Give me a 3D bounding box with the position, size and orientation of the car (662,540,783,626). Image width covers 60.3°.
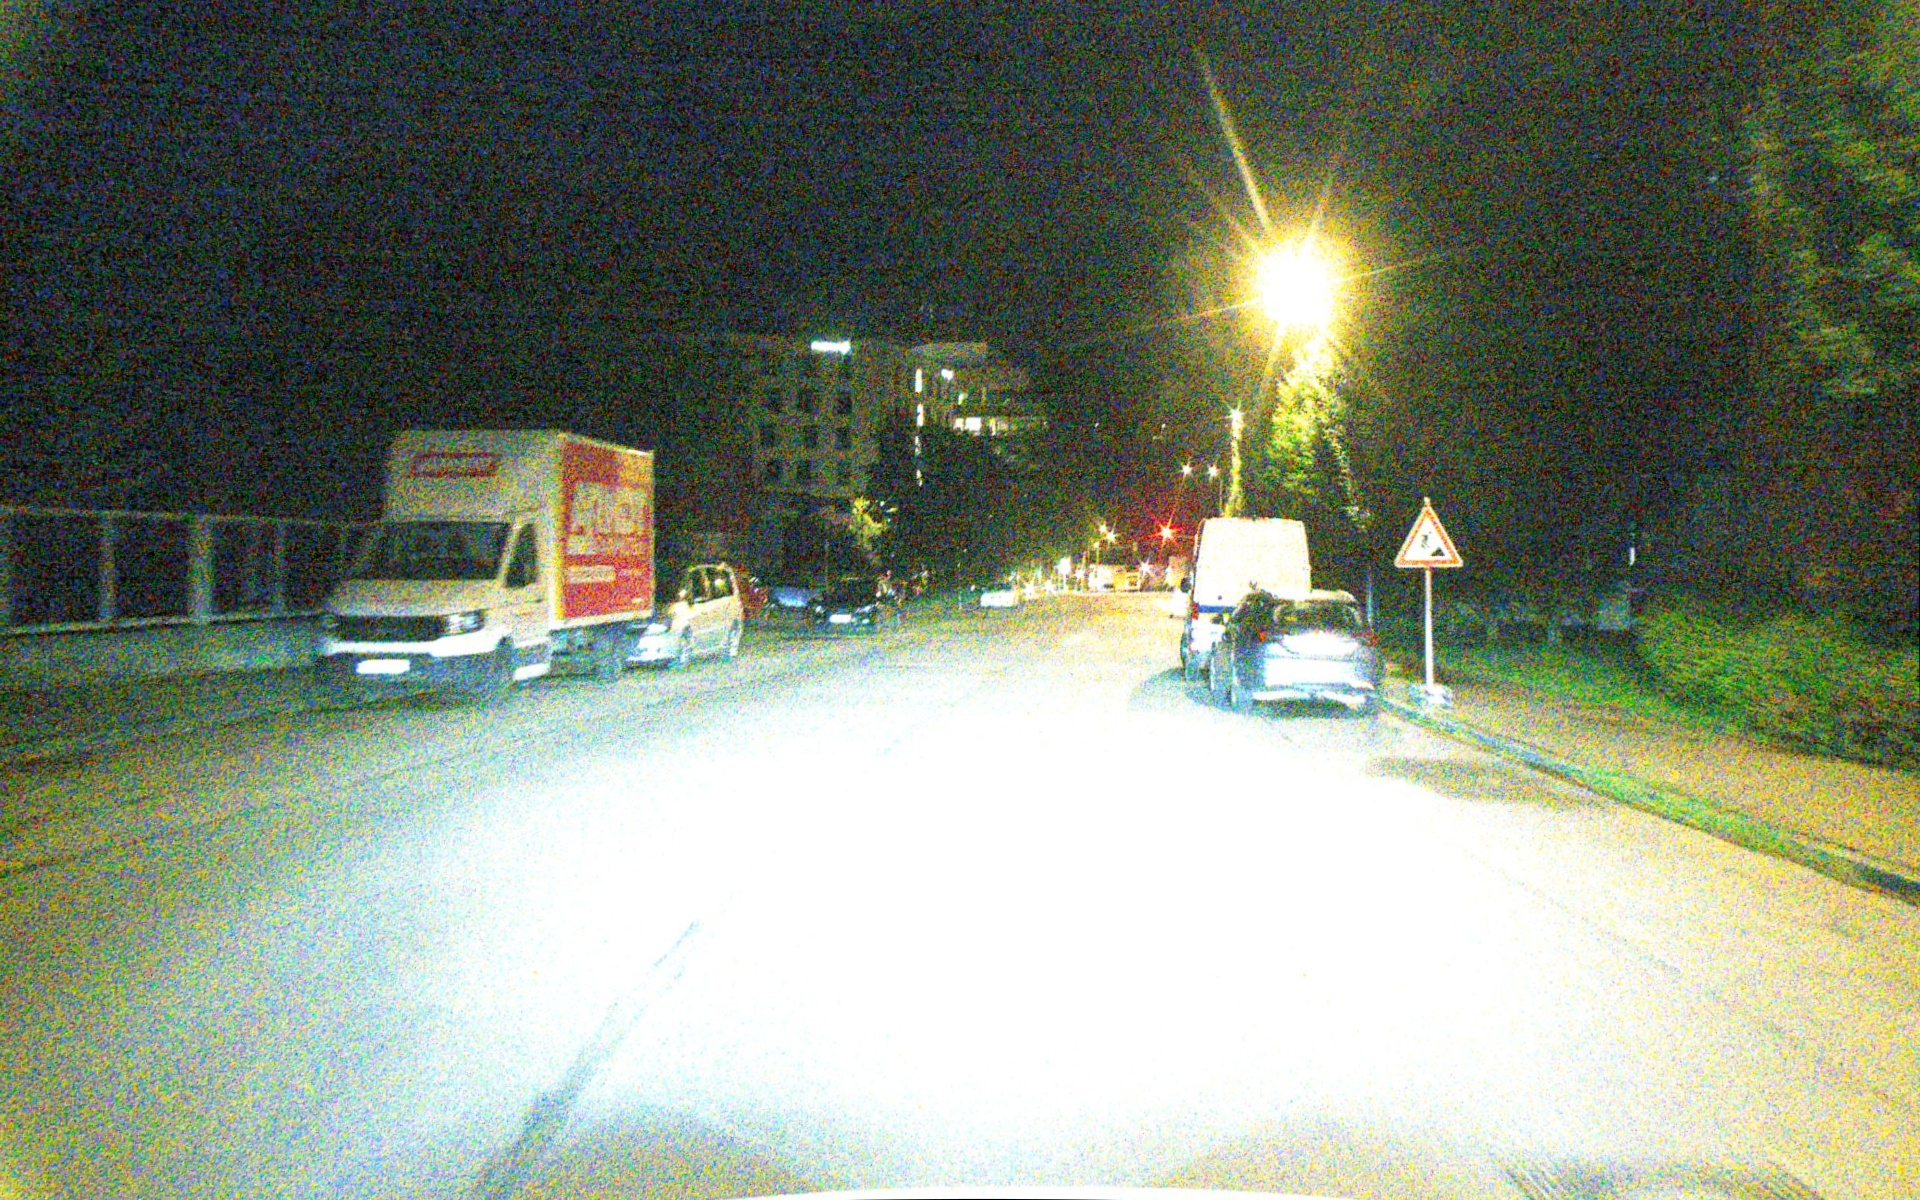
[{"bbox_3d":[-6.959,-0.531,49.046,1.951,2.362,4.971,-2,1,11],"label":"car"}]

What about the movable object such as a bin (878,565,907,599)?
[{"bbox_3d":[-2.985,-0.798,73.297,1.139,1.522,1.066,0,1,5],"label":"movable object such as a bin"}]

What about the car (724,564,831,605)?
[{"bbox_3d":[-7.307,-0.624,66.358,3.902,1.598,1.819,-1,1,7],"label":"car"}]

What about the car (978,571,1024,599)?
[{"bbox_3d":[2.156,-0.795,85.400,1.870,1.428,4.342,0,1,8],"label":"car"}]

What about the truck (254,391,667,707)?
[{"bbox_3d":[-5.973,-0.604,21.250,2.490,3.337,7.317,0,1,5],"label":"truck"}]

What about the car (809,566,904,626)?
[{"bbox_3d":[-2.806,-0.109,45.789,1.717,1.553,4.326,1,0,9],"label":"car"}]

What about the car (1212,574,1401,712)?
[{"bbox_3d":[4.253,0.447,20.963,1.675,1.534,4.643,0,1,3],"label":"car"}]

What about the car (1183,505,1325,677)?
[{"bbox_3d":[4.854,-0.197,28.046,1.978,2.570,6.056,1,1,7],"label":"car"}]

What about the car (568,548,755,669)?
[{"bbox_3d":[-4.866,0.088,27.699,1.790,1.848,4.842,0,1,6],"label":"car"}]
